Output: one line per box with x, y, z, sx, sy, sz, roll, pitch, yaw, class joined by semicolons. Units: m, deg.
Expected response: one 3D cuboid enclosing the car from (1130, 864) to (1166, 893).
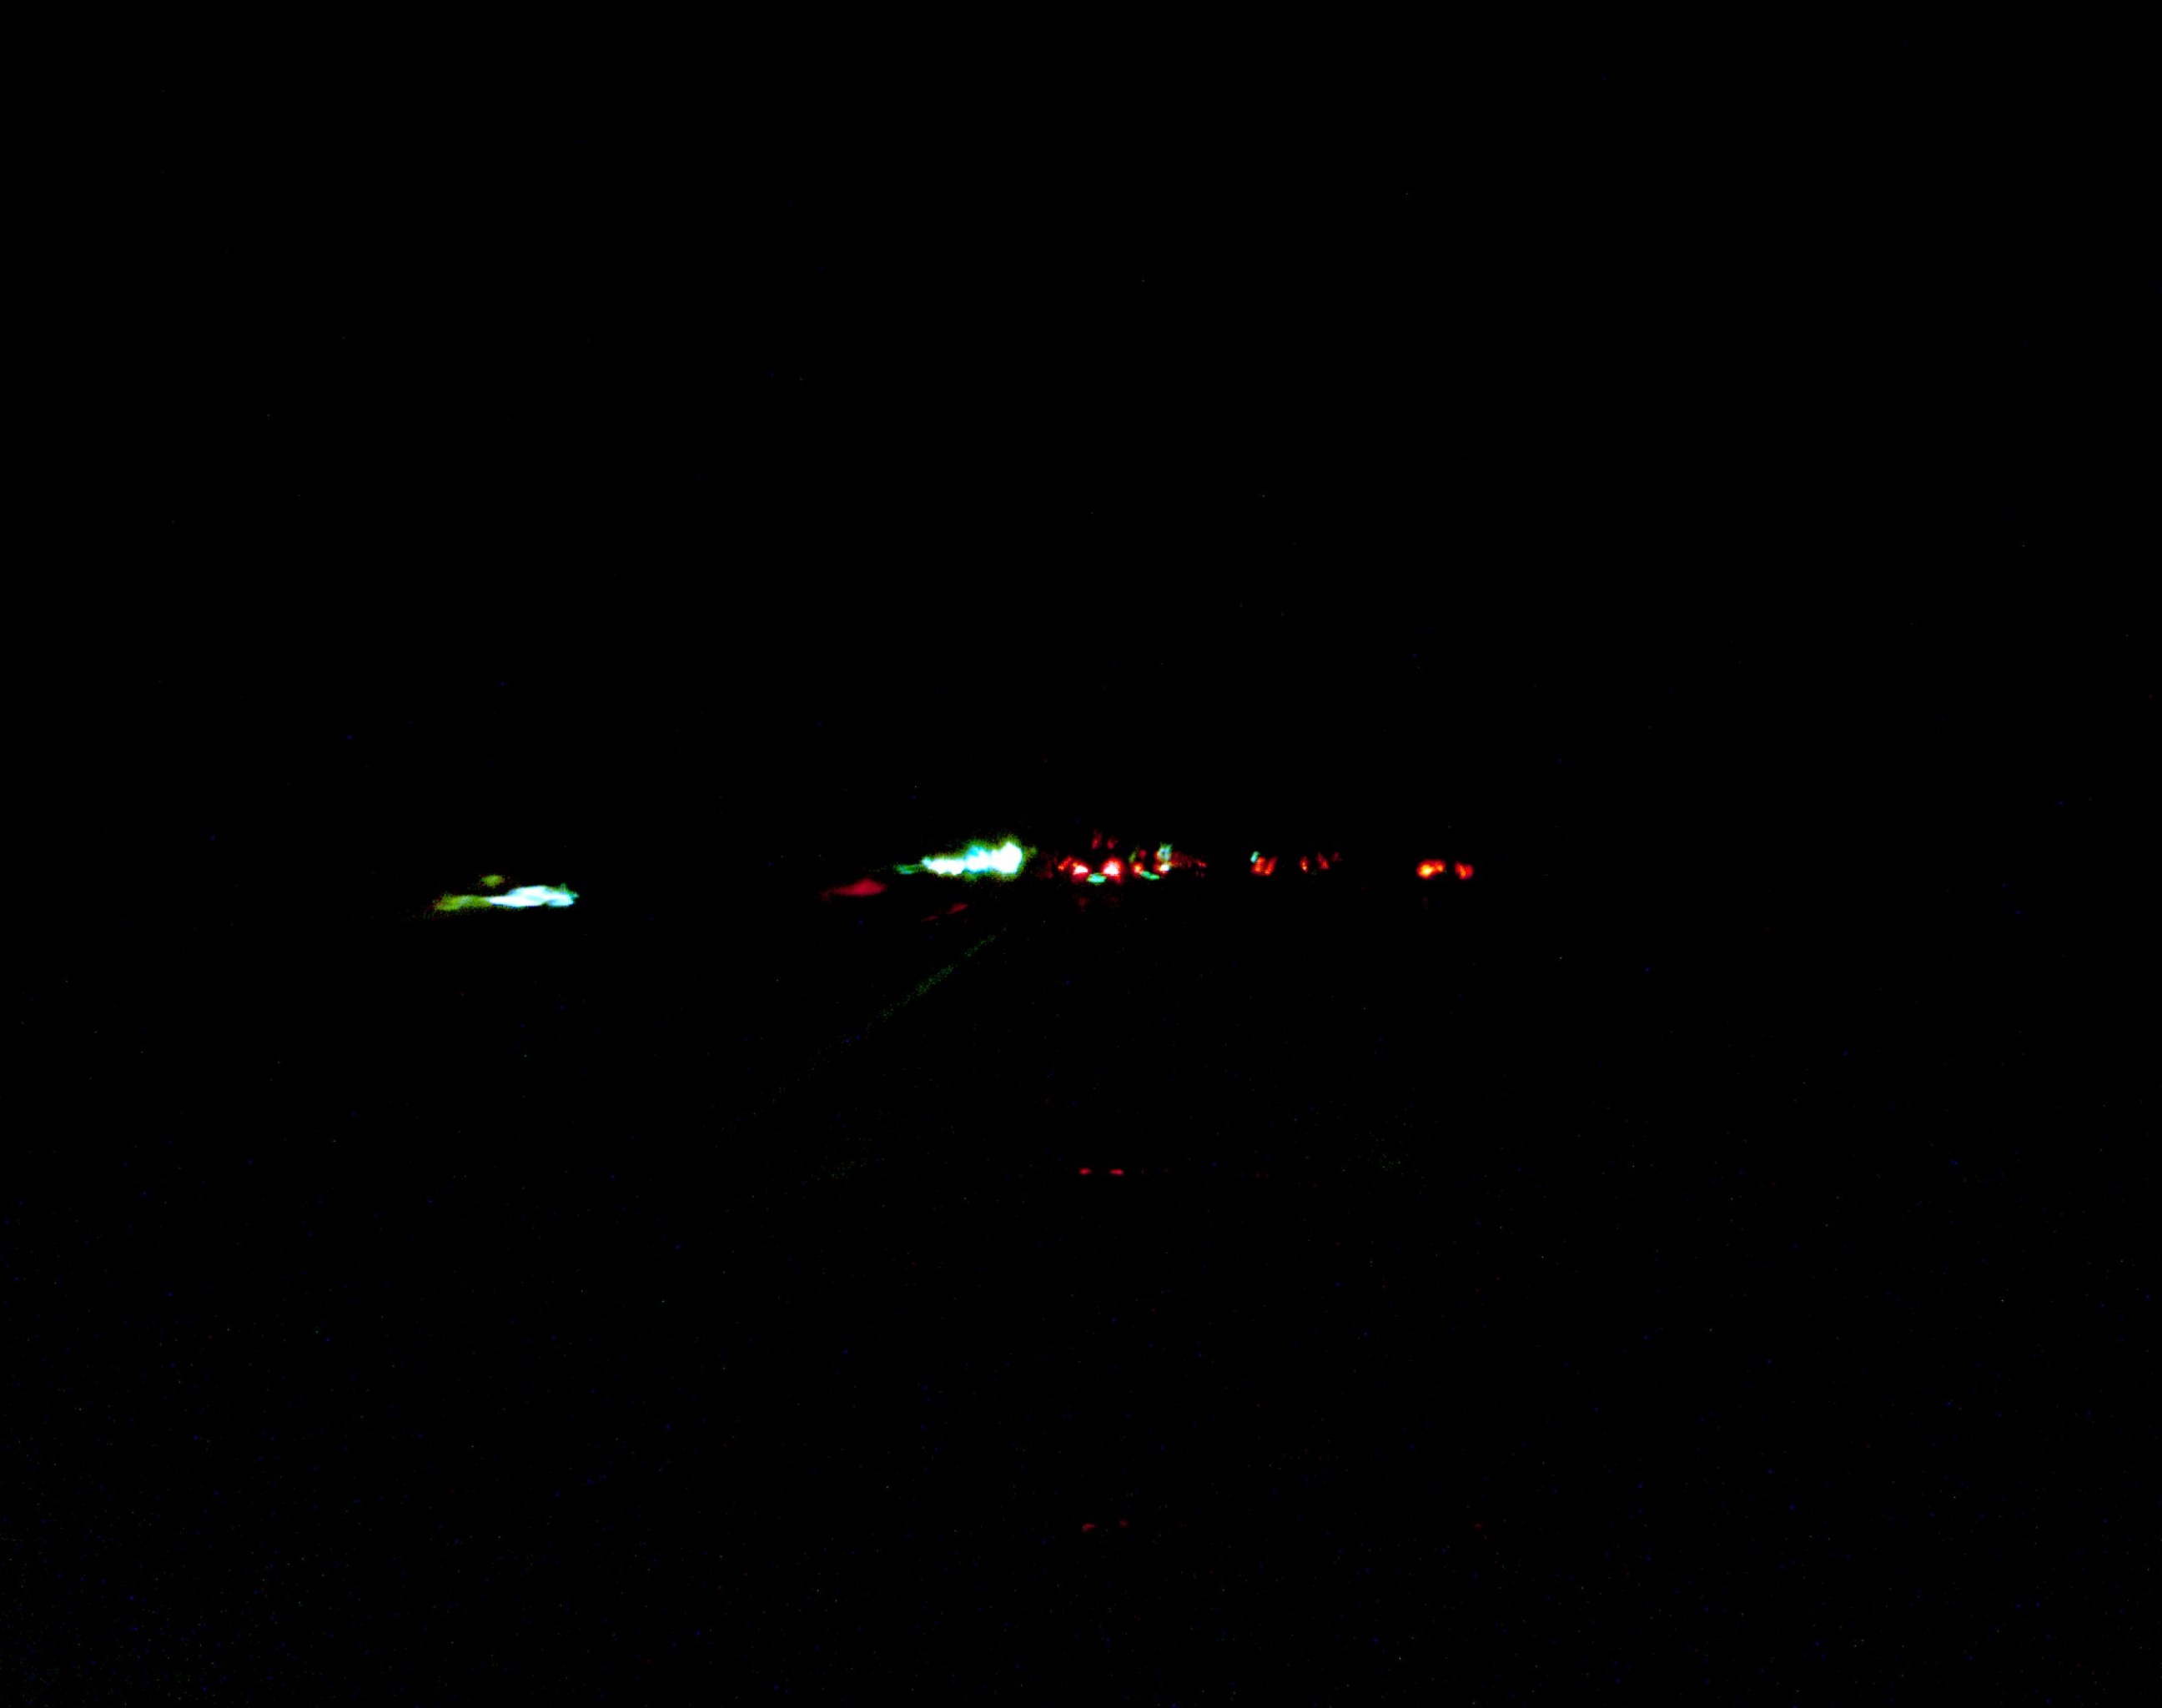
3.962;1.411;48.534;1.794;1.617;4.256;-1;0;0;car

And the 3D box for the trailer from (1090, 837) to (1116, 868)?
3.297;-0.365;126.635;2.733;4.247;13.358;2;2;-3;trailer

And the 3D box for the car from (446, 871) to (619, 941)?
-15.741;1.428;23.720;1.986;1.720;4.289;2;0;1;car

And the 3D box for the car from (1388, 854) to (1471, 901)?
16.154;1.010;38.063;2.052;2.013;5.459;1;0;6;car

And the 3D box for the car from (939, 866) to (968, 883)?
-11.247;1.779;72.042;1.797;1.406;4.289;2;0;1;car

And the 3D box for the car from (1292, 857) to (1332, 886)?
17.174;1.252;60.749;2.221;2.013;4.007;1;0;6;car

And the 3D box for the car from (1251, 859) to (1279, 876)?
18.746;1.401;83.102;1.987;1.600;4.000;2;0;1;car

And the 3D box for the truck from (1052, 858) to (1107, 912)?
0.035;1.284;36.427;2.137;2.077;6.606;2;0;2;truck
